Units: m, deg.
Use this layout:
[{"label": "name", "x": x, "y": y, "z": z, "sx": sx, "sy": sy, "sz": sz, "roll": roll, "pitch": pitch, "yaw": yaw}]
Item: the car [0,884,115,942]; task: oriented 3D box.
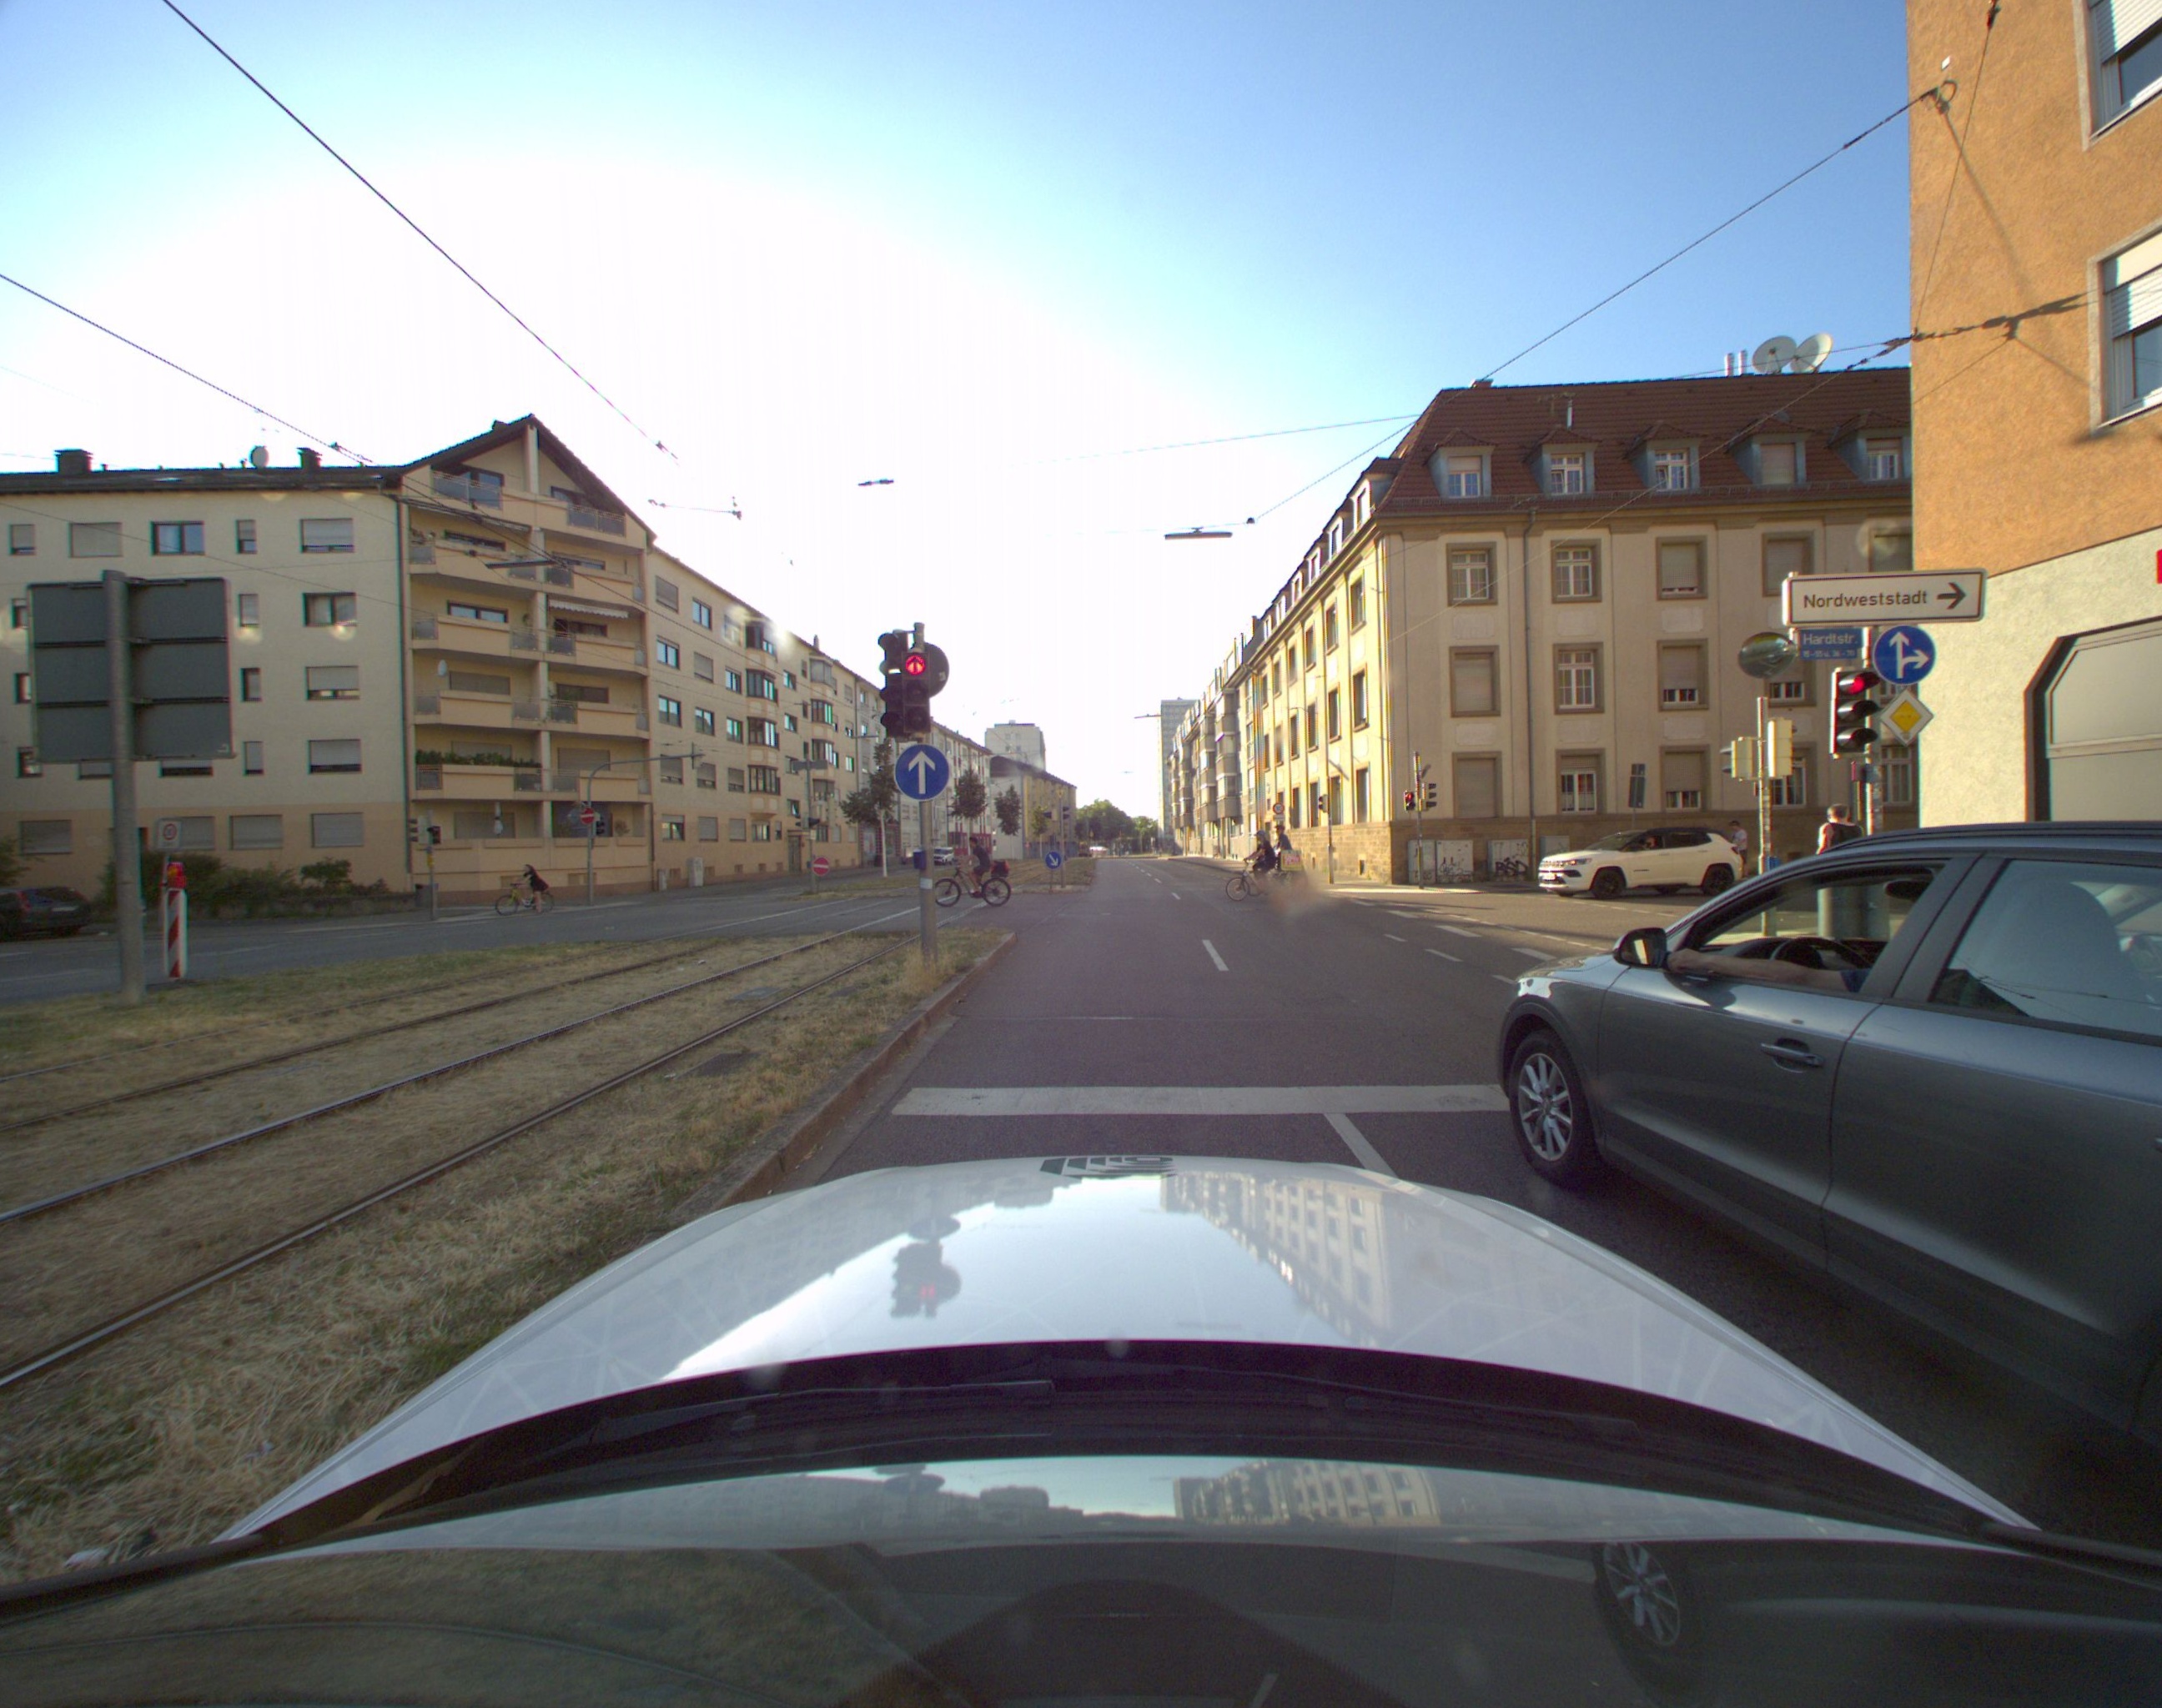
[{"label": "car", "x": -29.941, "y": 1.681, "z": 22.495, "sx": 3.956, "sy": 1.439, "sz": 1.785, "roll": -2, "pitch": 0, "yaw": -9}]

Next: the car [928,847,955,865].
[{"label": "car", "x": -14.213, "y": 0.162, "z": 82.986, "sx": 1.804, "sy": 1.797, "sz": 4.249, "roll": 0, "pitch": 0, "yaw": 3}]

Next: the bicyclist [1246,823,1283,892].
[{"label": "bicyclist", "x": 4.732, "y": 0.094, "z": 21.016, "sx": 0.791, "sy": 1.753, "sz": 0.720, "roll": 0, "pitch": 0, "yaw": 0}]

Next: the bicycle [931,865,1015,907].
[{"label": "bicycle", "x": -2.629, "y": 0.777, "z": 19.890, "sx": 1.977, "sy": 0.894, "sz": 0.784, "roll": -3, "pitch": 0, "yaw": -8}]

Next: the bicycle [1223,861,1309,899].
[{"label": "bicycle", "x": 4.744, "y": 0.656, "z": 20.982, "sx": 2.066, "sy": 0.958, "sz": 0.746, "roll": 0, "pitch": 0, "yaw": -1}]

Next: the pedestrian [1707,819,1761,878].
[{"label": "pedestrian", "x": 19.368, "y": -0.164, "z": 24.162, "sx": 1.033, "sy": 1.682, "sz": 0.669, "roll": -2, "pitch": 0, "yaw": 1}]

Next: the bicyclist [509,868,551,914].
[{"label": "bicyclist", "x": -18.001, "y": 1.205, "z": 26.616, "sx": 0.522, "sy": 1.447, "sz": 0.971, "roll": -2, "pitch": 0, "yaw": 32}]

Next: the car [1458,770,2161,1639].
[{"label": "car", "x": 2.847, "y": 0.601, "z": 2.292, "sx": 1.763, "sy": 1.575, "sz": 4.087, "roll": -2, "pitch": 0, "yaw": 2}]

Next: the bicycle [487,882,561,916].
[{"label": "bicycle", "x": -18.067, "y": 1.442, "z": 26.463, "sx": 0.522, "sy": 0.984, "sz": 1.895, "roll": -2, "pitch": 0, "yaw": 32}]

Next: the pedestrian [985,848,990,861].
[{"label": "pedestrian", "x": -12.540, "y": 0.092, "z": 109.428, "sx": 0.493, "sy": 1.658, "sz": 0.409, "roll": -2, "pitch": 0, "yaw": 2}]

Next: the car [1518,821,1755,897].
[{"label": "car", "x": 13.308, "y": 0.111, "z": 19.704, "sx": 4.406, "sy": 1.641, "sz": 1.999, "roll": -1, "pitch": 0, "yaw": -2}]

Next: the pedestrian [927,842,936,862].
[{"label": "pedestrian", "x": -15.856, "y": -0.216, "z": 86.380, "sx": 0.784, "sy": 2.013, "sz": 0.890, "roll": -2, "pitch": 0, "yaw": -2}]

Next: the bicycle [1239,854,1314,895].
[{"label": "bicycle", "x": 5.421, "y": 0.555, "z": 22.594, "sx": 1.938, "sy": 1.094, "sz": 0.575, "roll": -1, "pitch": 0, "yaw": -1}]

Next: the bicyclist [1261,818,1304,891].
[{"label": "bicyclist", "x": 5.593, "y": 0.009, "z": 22.622, "sx": 0.957, "sy": 1.988, "sz": 0.672, "roll": -2, "pitch": 0, "yaw": -1}]

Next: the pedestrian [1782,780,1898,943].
[{"label": "pedestrian", "x": 9.172, "y": 0.087, "z": 9.866, "sx": 0.690, "sy": 1.874, "sz": 0.718, "roll": -2, "pitch": 0, "yaw": 1}]

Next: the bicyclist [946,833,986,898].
[{"label": "bicyclist", "x": -2.810, "y": 0.274, "z": 19.871, "sx": 0.902, "sy": 1.526, "sz": 0.646, "roll": -2, "pitch": 0, "yaw": -8}]
